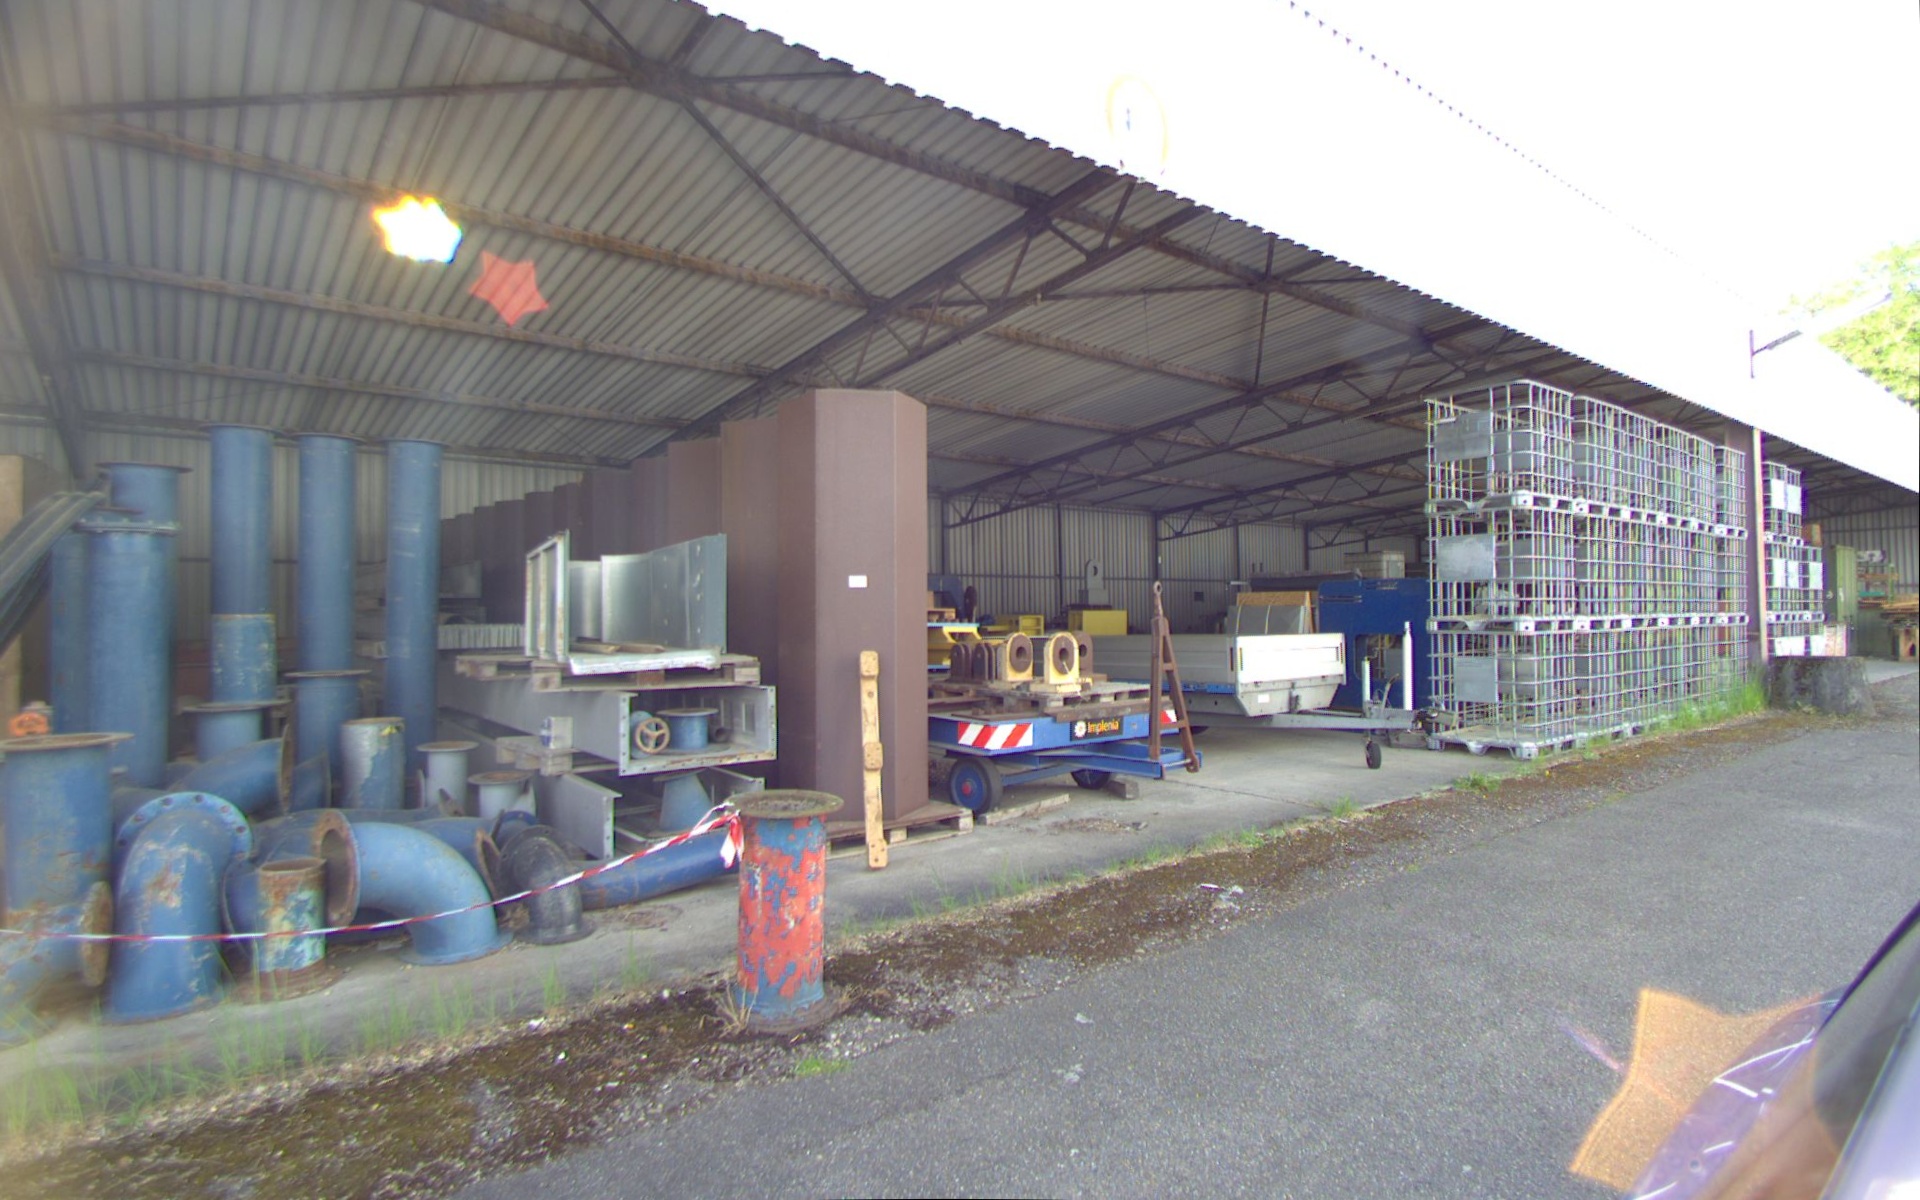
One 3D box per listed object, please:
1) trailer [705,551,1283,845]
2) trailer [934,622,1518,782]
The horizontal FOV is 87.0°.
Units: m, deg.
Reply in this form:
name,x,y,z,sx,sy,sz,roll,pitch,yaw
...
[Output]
name,x,y,z,sx,sy,sz,roll,pitch,yaw
trailer,-0.085,0.567,8.221,1.993,1.649,4.877,0,-1,-39
trailer,2.291,0.832,10.513,1.993,1.134,5.834,0,-1,-39
